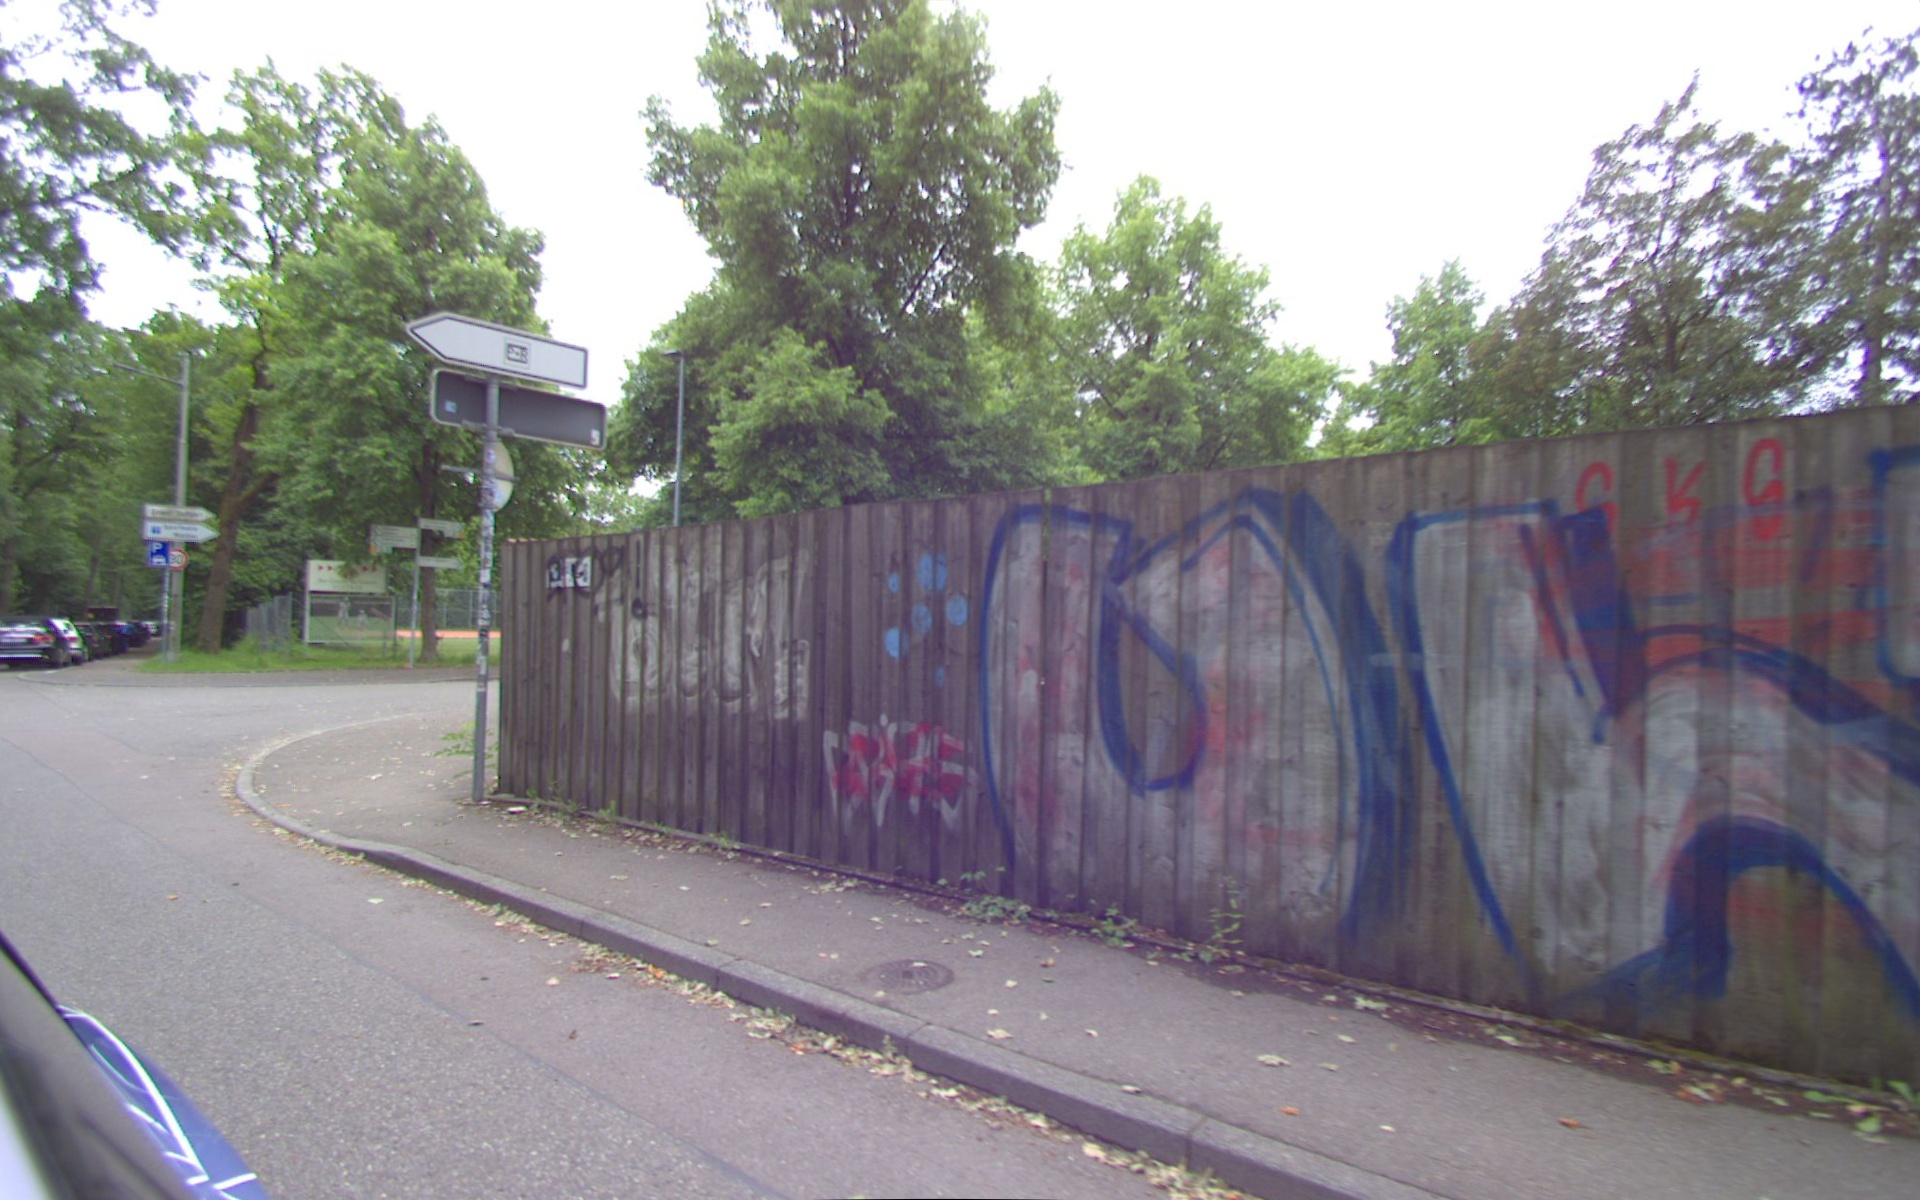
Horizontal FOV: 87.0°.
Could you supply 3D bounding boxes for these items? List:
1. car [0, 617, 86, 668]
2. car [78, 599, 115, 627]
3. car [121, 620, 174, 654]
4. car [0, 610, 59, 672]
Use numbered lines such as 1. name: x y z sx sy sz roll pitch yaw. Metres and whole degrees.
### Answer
1. car: -27.678 1.283 30.403 1.968 1.431 4.008 1 -3 -38
2. car: -80.748 1.204 94.692 2.541 2.554 4.943 2 -2 -40
3. car: -42.699 1.933 53.142 1.928 1.631 3.644 4 -3 -41
4. car: -24.822 1.082 26.351 1.744 1.506 4.335 1 -3 -38
